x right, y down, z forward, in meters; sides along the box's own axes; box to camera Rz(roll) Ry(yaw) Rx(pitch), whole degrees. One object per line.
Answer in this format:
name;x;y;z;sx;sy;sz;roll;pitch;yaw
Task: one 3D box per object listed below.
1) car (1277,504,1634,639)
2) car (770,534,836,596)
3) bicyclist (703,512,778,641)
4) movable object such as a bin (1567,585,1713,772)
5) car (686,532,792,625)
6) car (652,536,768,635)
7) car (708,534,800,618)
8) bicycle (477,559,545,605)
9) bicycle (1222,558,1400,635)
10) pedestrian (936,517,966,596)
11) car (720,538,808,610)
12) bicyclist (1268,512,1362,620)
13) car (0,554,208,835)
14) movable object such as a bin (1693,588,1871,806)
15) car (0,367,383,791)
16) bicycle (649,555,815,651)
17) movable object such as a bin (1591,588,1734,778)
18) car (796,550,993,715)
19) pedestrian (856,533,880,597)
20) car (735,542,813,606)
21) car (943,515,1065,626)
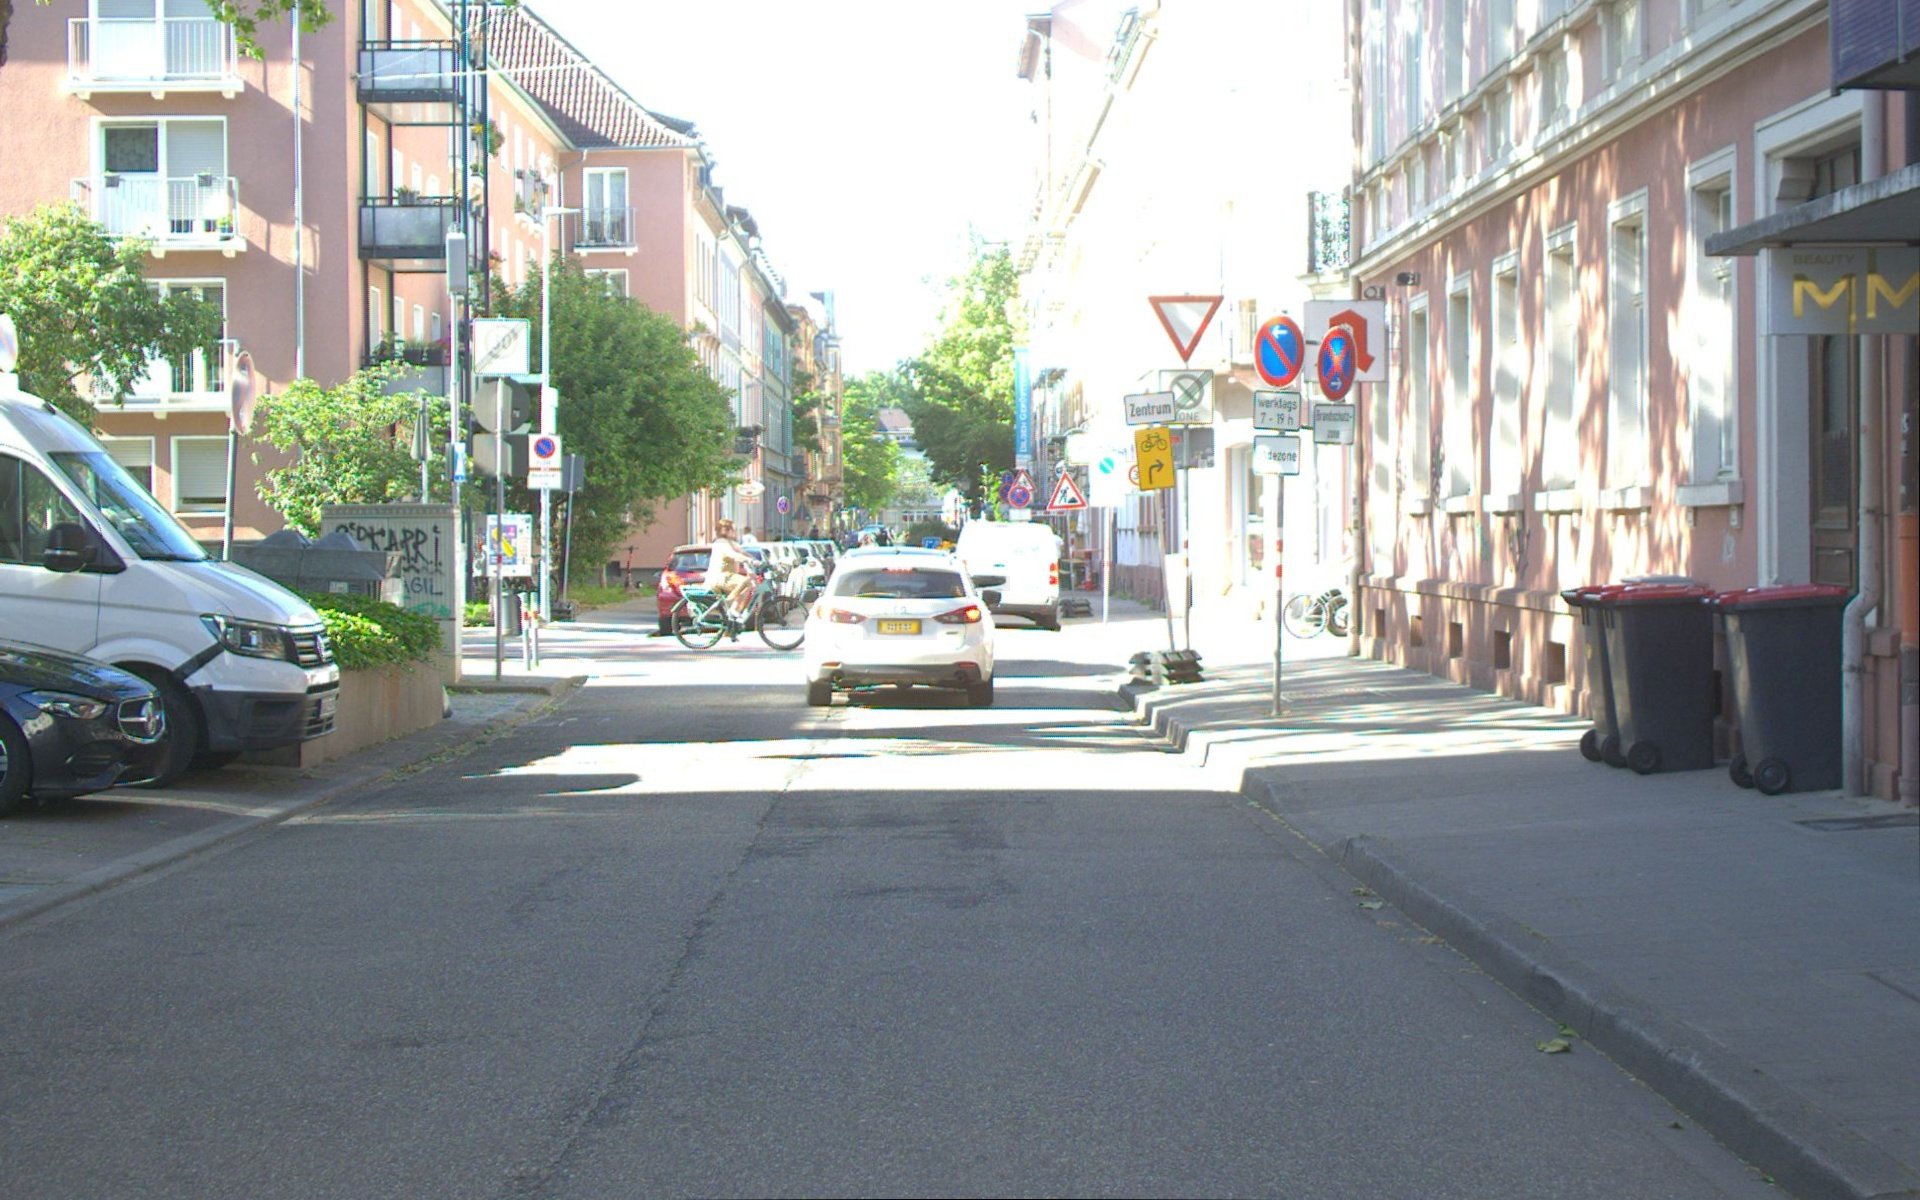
car;7.362;-0.409;51.110;4.896;1.922;1.997;0;-1;24
car;-4.163;-0.922;91.436;1.572;1.580;3.611;-1;0;0
bicyclist;-2.963;-0.315;46.447;0.924;1.714;0.942;-1;0;1
movable object such as a bin;4.044;0.458;20.480;0.745;1.082;0.634;-1;0;1
car;-4.139;-0.417;64.815;1.720;1.677;3.726;-1;1;0
car;-4.279;-0.280;59.217;1.769;1.583;3.726;-1;2;-1
car;-4.191;-0.494;70.329;1.635;1.650;3.785;-1;0;0
bicycle;-9.213;-0.357;70.504;0.603;0.929;1.915;-1;0;-33
bicycle;5.027;-0.050;49.162;2.426;1.076;0.790;-1;0;15
pedestrian;-0.239;-1.165;92.419;0.771;2.111;0.834;-1;0;0
car;-4.371;-0.584;77.115;1.720;1.571;3.726;-1;0;0
bicyclist;5.081;-0.483;49.151;1.196;1.511;0.840;-1;0;16
car;-6.793;0.427;19.661;4.500;1.465;1.929;3;1;1
movable object such as a bin;4.273;0.495;17.903;0.729;1.100;0.693;-1;0;-2
car;-7.380;-0.239;22.452;6.739;2.546;2.145;2;0;2
bicycle;-3.069;0.033;46.401;2.163;1.251;0.833;-1;0;1
movable object such as a bin;4.048;0.471;19.848;0.701;1.069;0.596;-1;0;1
car;-0.652;0.276;34.169;1.823;1.509;3.824;-1;1;-1
pedestrian;-2.616;-0.992;97.584;0.647;1.791;0.639;-1;0;0
car;-4.368;-0.615;81.128;1.602;1.472;3.567;-1;0;0
car;0.763;-0.547;62.432;1.942;1.941;4.079;0;1;-3
